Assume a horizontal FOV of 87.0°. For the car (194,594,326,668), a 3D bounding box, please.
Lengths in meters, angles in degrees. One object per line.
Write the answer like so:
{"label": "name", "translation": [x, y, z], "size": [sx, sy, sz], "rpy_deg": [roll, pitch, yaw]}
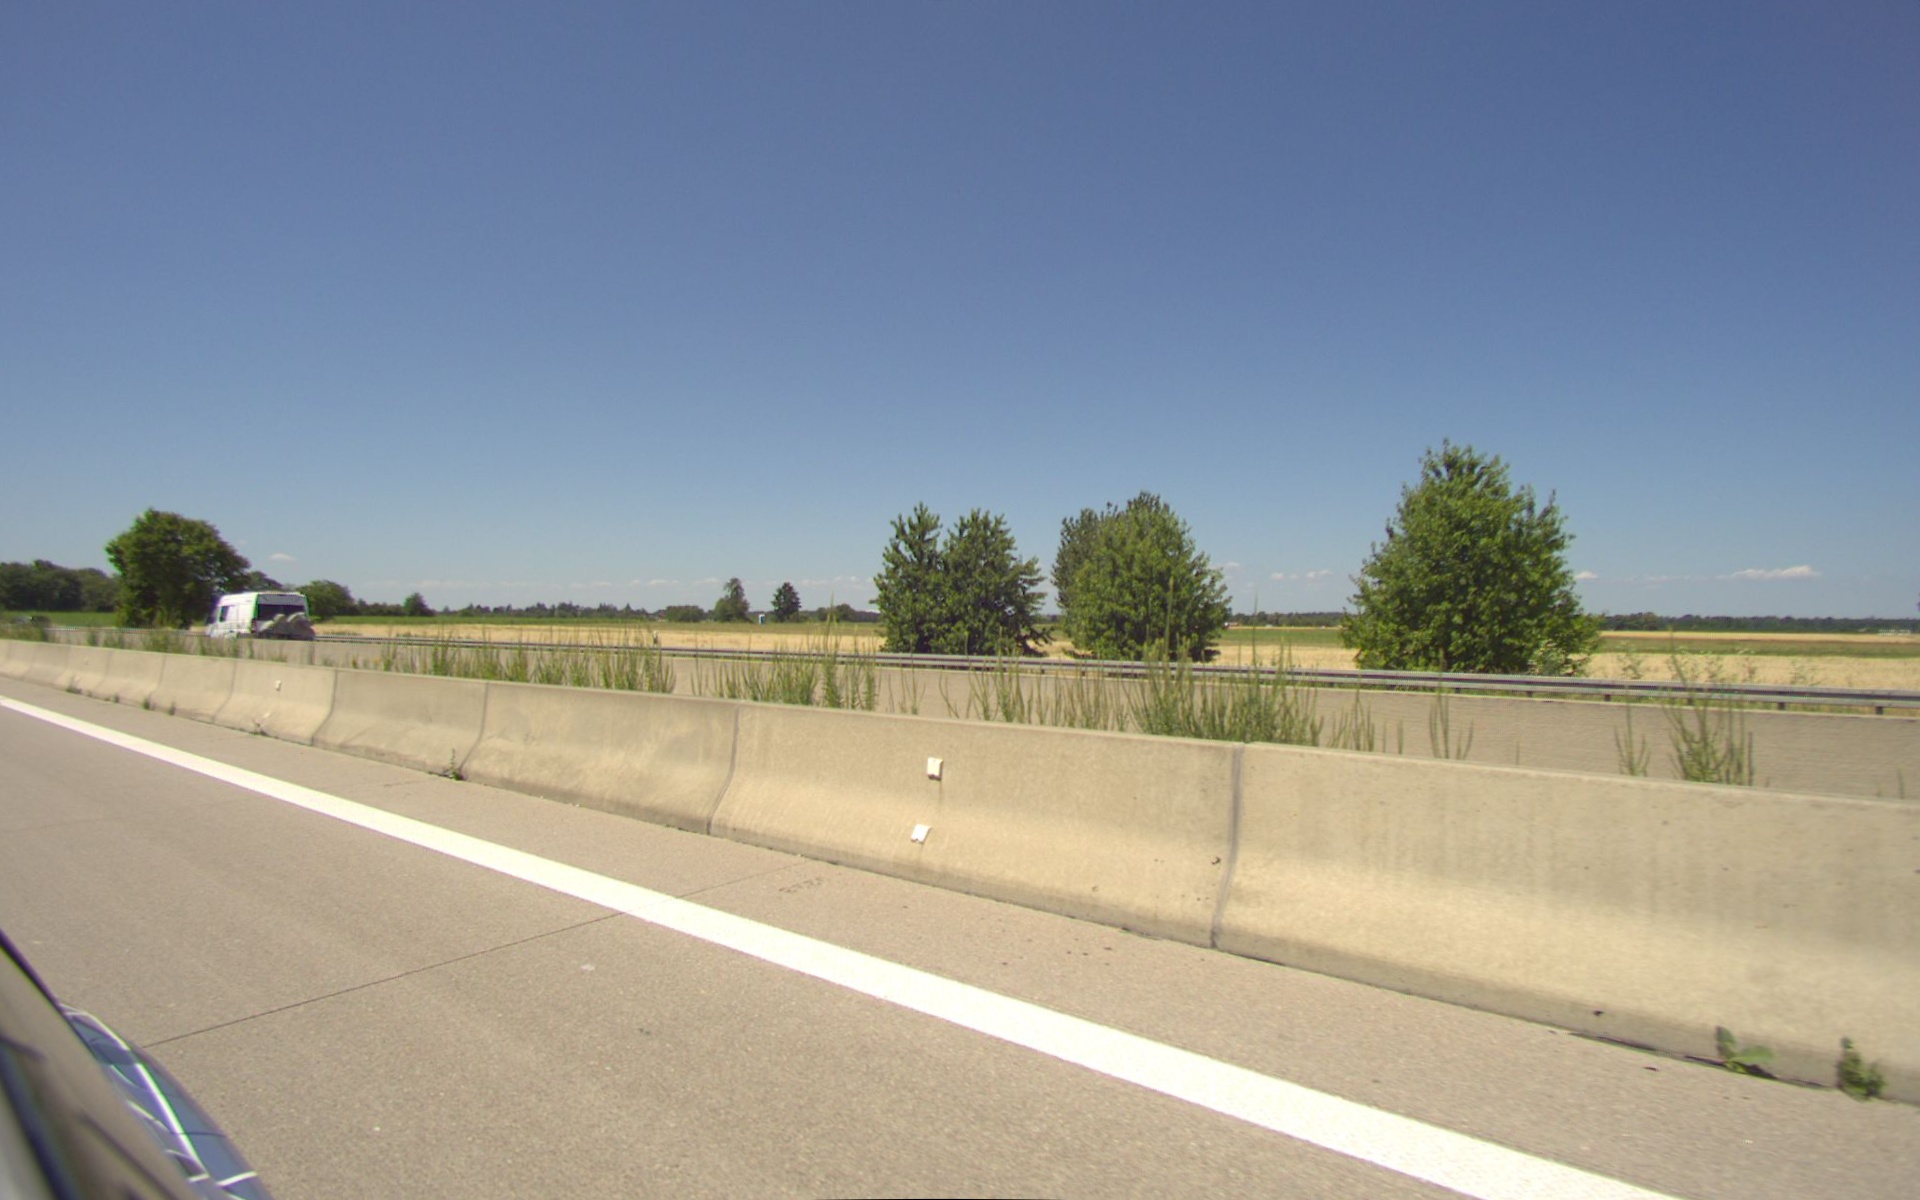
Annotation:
{"label": "car", "translation": [-28.650, 1.215, 41.290], "size": [7.057, 2.809, 2.243], "rpy_deg": [-1, 0, 36]}
